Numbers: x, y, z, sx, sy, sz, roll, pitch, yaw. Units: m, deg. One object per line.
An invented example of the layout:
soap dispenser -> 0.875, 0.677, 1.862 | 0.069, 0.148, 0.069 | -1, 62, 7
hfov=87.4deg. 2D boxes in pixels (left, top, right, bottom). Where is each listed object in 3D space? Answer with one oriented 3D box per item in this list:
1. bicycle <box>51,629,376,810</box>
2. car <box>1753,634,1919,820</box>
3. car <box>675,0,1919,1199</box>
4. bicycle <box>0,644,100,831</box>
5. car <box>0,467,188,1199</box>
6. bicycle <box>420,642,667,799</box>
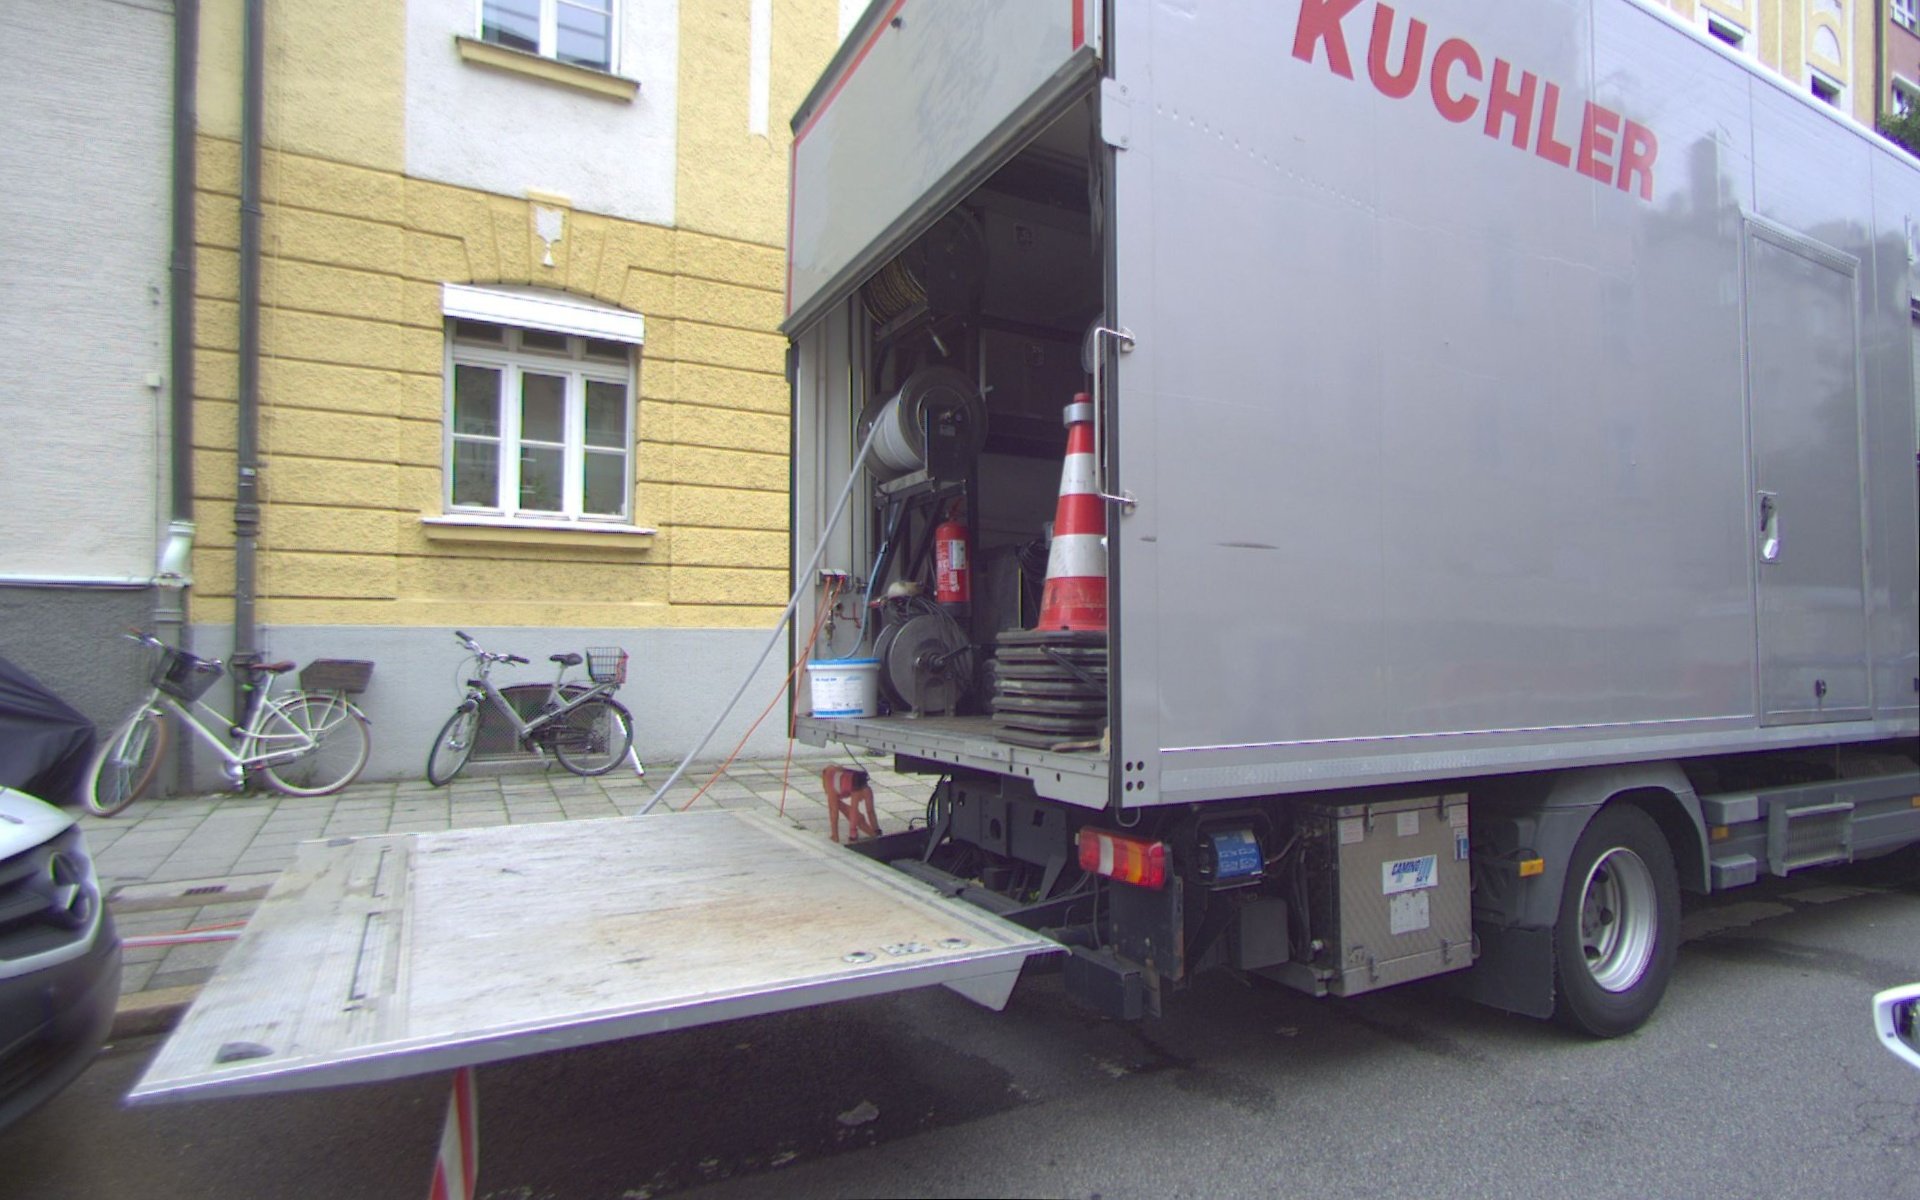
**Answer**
bicycle -> -5.111, 0.789, 7.016 | 1.745, 1.119, 0.504 | 2, 2, -29
car -> 8.976, 1.043, 8.893 | 3.660, 1.428, 1.693 | 2, -1, -26
car -> 3.146, -0.332, 5.463 | 8.615, 3.868, 2.801 | 2, -1, -29
bicycle -> -6.348, 0.830, 5.961 | 1.848, 1.119, 0.398 | 2, -1, -38
car -> -4.201, 0.607, 1.699 | 4.271, 1.802, 1.757 | 1, -3, -27
bicycle -> -3.297, 0.911, 8.004 | 1.745, 1.119, 0.605 | 2, -1, -29
